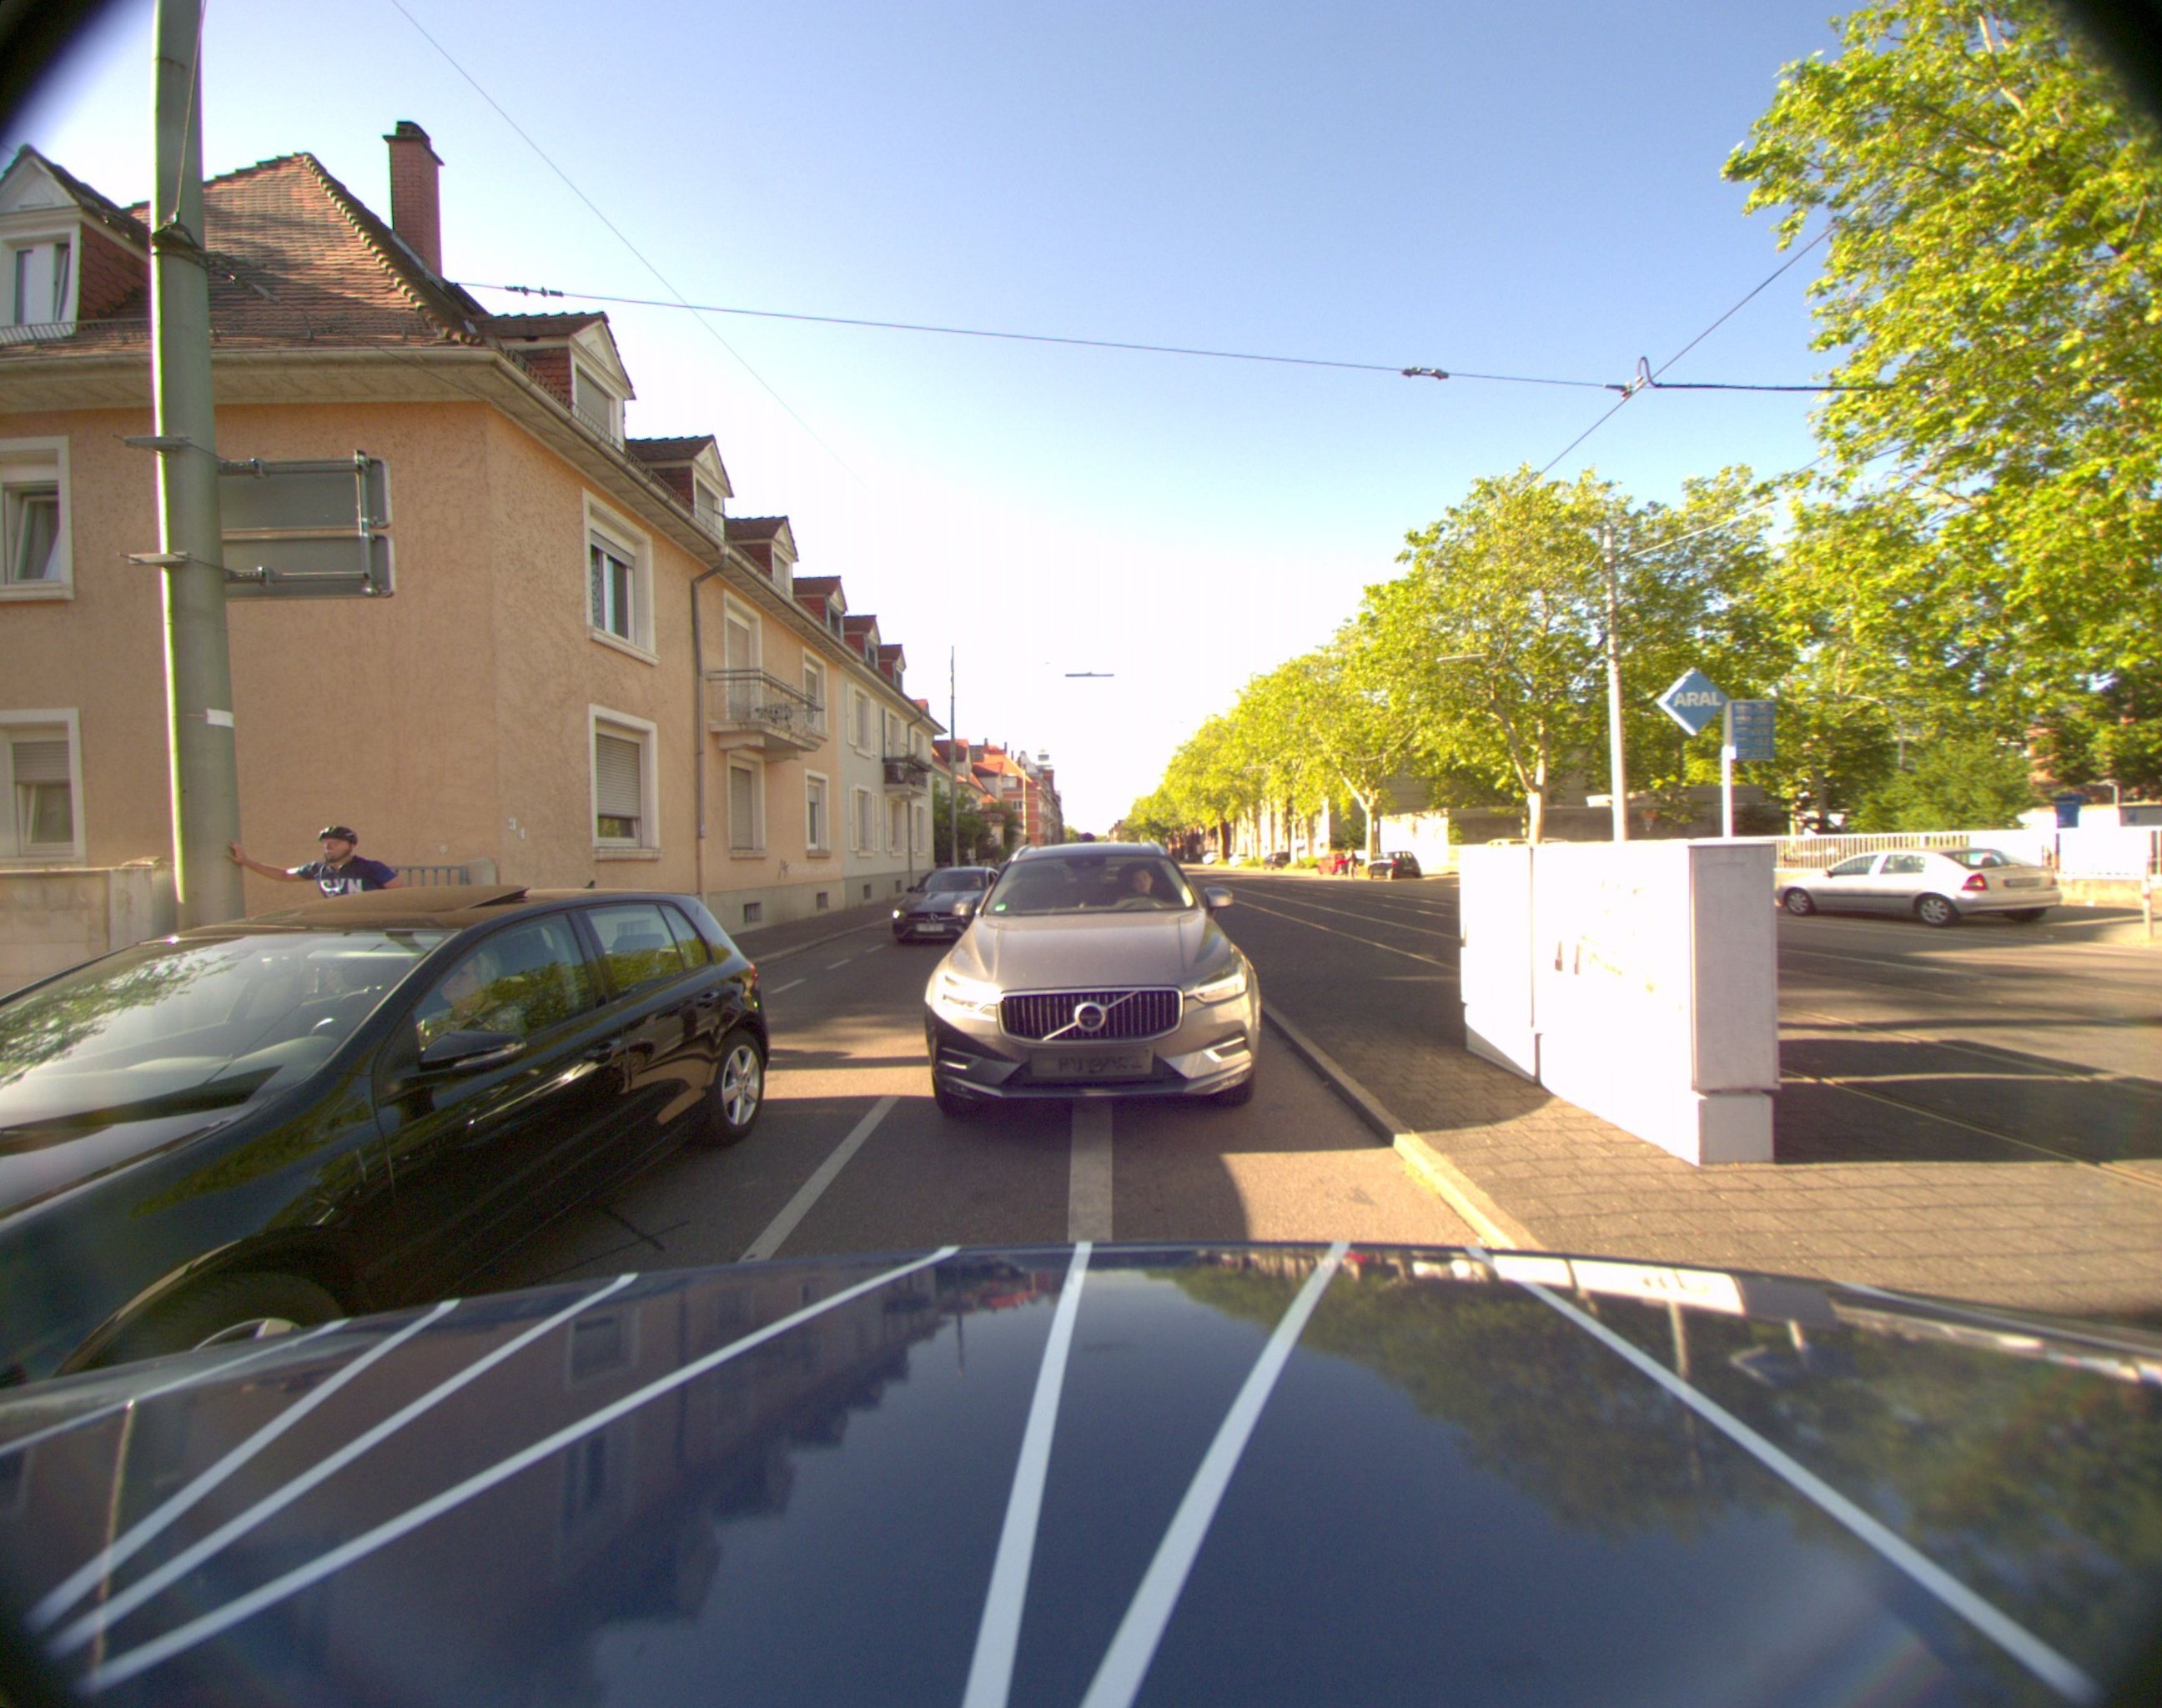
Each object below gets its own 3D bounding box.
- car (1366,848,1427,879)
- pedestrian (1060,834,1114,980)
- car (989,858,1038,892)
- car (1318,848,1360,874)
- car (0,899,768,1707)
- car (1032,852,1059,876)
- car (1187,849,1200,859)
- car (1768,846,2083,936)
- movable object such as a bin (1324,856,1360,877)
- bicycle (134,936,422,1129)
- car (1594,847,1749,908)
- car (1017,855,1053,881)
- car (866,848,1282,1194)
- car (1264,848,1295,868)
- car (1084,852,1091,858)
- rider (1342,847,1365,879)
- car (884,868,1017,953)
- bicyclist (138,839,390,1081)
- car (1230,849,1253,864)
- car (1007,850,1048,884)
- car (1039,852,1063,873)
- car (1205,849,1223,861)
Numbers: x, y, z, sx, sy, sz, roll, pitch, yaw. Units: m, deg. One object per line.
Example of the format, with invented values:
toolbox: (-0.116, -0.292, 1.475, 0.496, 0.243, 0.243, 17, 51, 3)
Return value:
car: (16.826, 0.449, 40.681, 1.723, 1.436, 3.769, -4, 1, 3)
pedestrian: (0.080, 0.673, 9.976, 0.609, 1.832, 0.599, -2, 1, 1)
car: (-3.236, 0.962, 37.135, 1.825, 1.422, 4.334, -2, 1, 1)
car: (16.962, 0.448, 50.159, 1.661, 1.486, 3.377, -4, 1, 3)
car: (-2.807, 1.043, 2.609, 1.717, 1.430, 3.990, -2, 1, 1)
car: (-2.787, 0.772, 60.909, 1.825, 1.701, 4.334, -2, 1, 1)
car: (18.551, 0.059, 125.552, 1.661, 1.452, 3.730, -4, 1, 3)
car: (16.194, 0.629, 14.947, 1.687, 1.358, 3.989, -6, 0, 1)
movable object such as a bin: (14.263, 0.671, 41.593, 1.178, 1.097, 1.834, -2, 1, -4)
bicycle: (-5.907, 1.252, 5.739, 0.556, 1.069, 1.624, 2, 0, -7)
car: (16.459, 0.592, 21.416, 1.619, 1.436, 3.606, -4, 1, 3)
car: (-2.794, 0.843, 46.986, 1.825, 1.424, 4.334, -2, 1, 1)
car: (0.117, 0.797, 5.796, 1.924, 1.579, 4.387, -2, 1, 4)
car: (17.201, 0.322, 65.958, 1.754, 1.582, 3.878, -4, 1, 3)
car: (1.690, 0.282, 202.322, 1.851, 1.640, 3.999, -2, 1, 1)
rider: (14.396, 0.481, 40.121, 0.725, 1.639, 1.106, -2, 1, -4)
car: (-2.502, 1.047, 15.727, 1.825, 1.422, 4.491, -2, -1, 1)
bicyclist: (-6.069, 0.757, 5.710, 1.021, 1.684, 0.729, 2, 0, -7)
car: (17.616, 0.245, 83.462, 1.754, 1.532, 3.878, -4, 1, 3)
car: (-2.912, 0.688, 42.390, 1.825, 1.701, 4.334, -2, 1, 1)
car: (-2.599, 0.694, 67.275, 1.825, 1.701, 4.334, -2, 1, 1)
car: (17.605, 0.099, 100.675, 1.661, 1.452, 3.730, -4, 1, 3)
